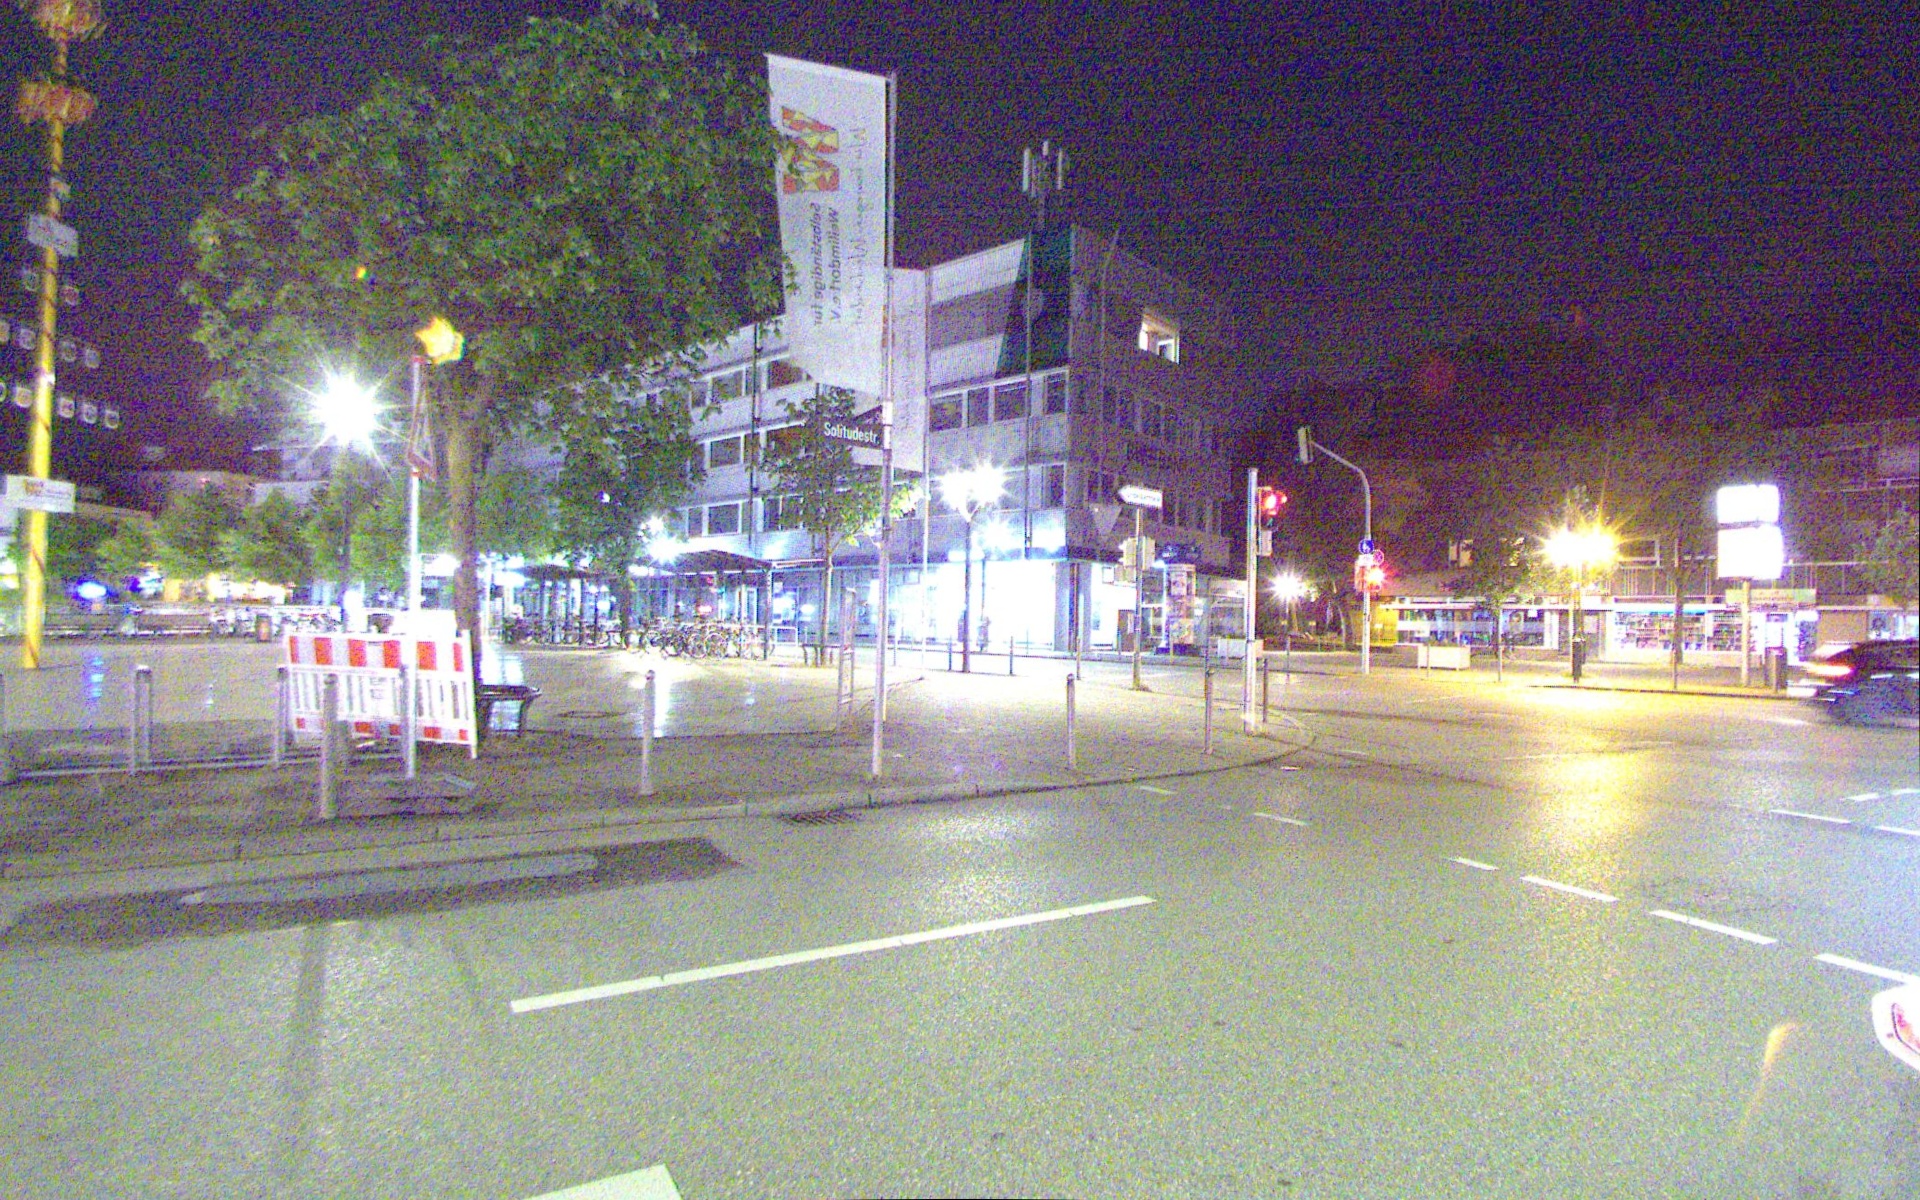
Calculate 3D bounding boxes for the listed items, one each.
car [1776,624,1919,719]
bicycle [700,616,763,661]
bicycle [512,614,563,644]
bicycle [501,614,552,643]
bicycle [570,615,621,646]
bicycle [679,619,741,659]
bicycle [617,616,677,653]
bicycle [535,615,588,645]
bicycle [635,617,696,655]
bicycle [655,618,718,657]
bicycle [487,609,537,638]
[{"bbox_3d":[16.591,1.225,16.820,4.239,1.473,1.876,2,0,30],"label":"car"},{"bbox_3d":[-5.650,0.941,24.925,0.440,1.068,1.525,2,0,43],"label":"bicycle"},{"bbox_3d":[-14.184,0.977,33.738,0.473,0.970,1.525,2,0,44],"label":"bicycle"},{"bbox_3d":[-14.822,0.985,34.365,0.473,0.970,1.525,2,0,44],"label":"bicycle"},{"bbox_3d":[-12.009,1.007,33.107,0.473,0.970,1.525,2,0,44],"label":"bicycle"},{"bbox_3d":[-6.340,0.987,25.527,0.440,0.970,1.525,2,0,43],"label":"bicycle"},{"bbox_3d":[-8.531,0.933,27.423,0.473,0.970,1.525,2,0,44],"label":"bicycle"},{"bbox_3d":[-13.125,0.992,33.111,0.473,0.970,1.525,2,0,44],"label":"bicycle"},{"bbox_3d":[-7.850,0.951,26.823,0.473,0.970,1.525,2,0,44],"label":"bicycle"},{"bbox_3d":[-7.106,0.960,26.142,0.473,0.970,1.525,2,0,44],"label":"bicycle"},{"bbox_3d":[-15.550,0.820,34.883,0.473,0.970,1.525,2,0,44],"label":"bicycle"}]
